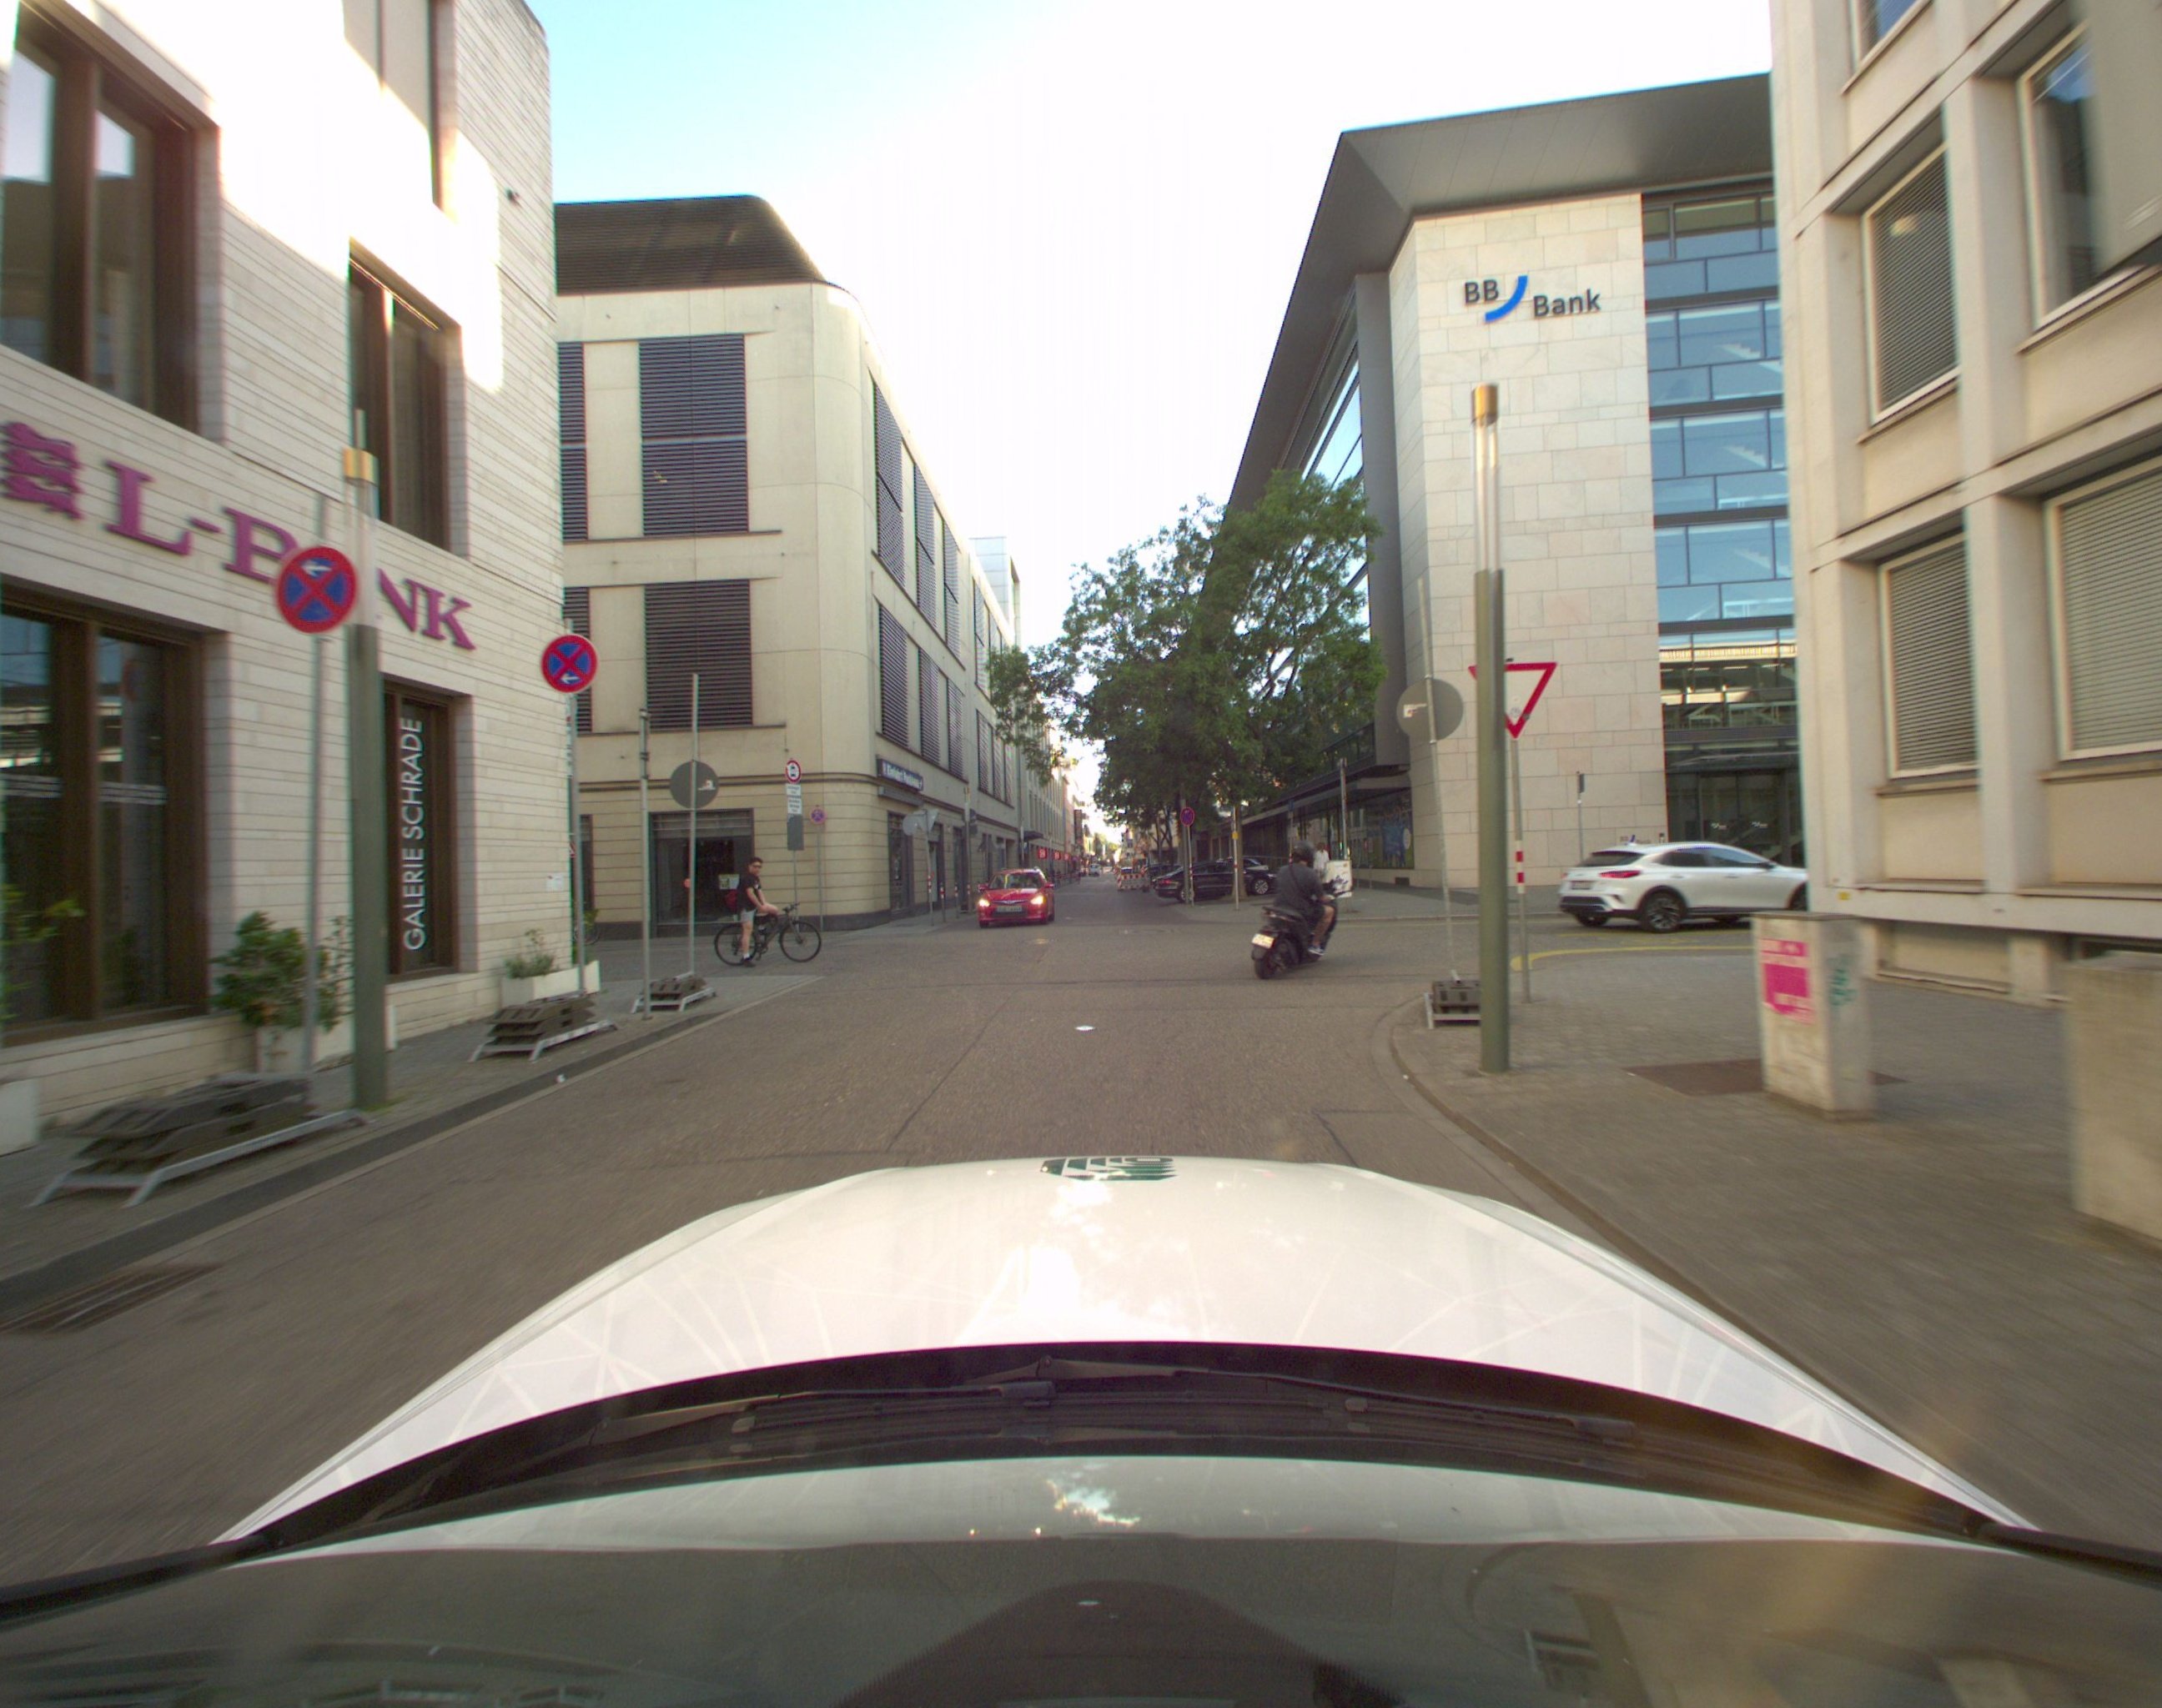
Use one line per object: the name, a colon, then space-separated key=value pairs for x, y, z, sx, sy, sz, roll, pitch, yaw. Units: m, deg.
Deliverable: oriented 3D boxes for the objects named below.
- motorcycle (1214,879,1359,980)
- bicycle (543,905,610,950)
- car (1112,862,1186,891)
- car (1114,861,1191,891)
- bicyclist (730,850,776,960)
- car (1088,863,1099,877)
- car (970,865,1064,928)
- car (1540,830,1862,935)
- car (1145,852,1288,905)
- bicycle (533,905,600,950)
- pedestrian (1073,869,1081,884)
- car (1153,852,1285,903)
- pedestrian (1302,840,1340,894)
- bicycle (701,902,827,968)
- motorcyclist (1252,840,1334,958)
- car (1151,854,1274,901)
motorcycle: x=2.609 y=0.897 z=10.254 sx=1.849 sy=1.109 sz=0.865 roll=0 pitch=-2 yaw=-42
bicycle: x=-13.053 y=1.890 z=21.122 sx=0.348 sy=1.033 sz=1.527 roll=-3 pitch=-1 yaw=23
car: x=4.742 y=1.576 z=57.721 sx=4.989 sy=1.499 sz=2.000 roll=-6 pitch=-2 yaw=0
car: x=4.795 y=1.489 z=55.249 sx=4.989 sy=1.499 sz=2.000 roll=-6 pitch=-2 yaw=0
bicyclist: x=-5.321 y=0.821 z=13.223 sx=0.549 sy=1.732 sz=0.500 roll=-1 pitch=-2 yaw=-6
car: x=2.178 y=2.812 z=143.594 sx=1.987 sy=2.329 sz=5.020 roll=0 pitch=-1 yaw=0
car: x=-1.615 y=1.135 z=22.076 sx=1.814 sy=1.465 sz=4.268 roll=-2 pitch=-3 yaw=5
car: x=10.559 y=0.460 z=14.075 sx=4.240 sy=1.541 sz=1.826 roll=-2 pitch=0 yaw=-3
car: x=5.064 y=0.930 z=30.886 sx=4.989 sy=1.452 sz=2.000 roll=-6 pitch=-2 yaw=0
bicycle: x=-13.409 y=1.911 z=21.264 sx=0.348 sy=1.033 sz=1.527 roll=-3 pitch=-1 yaw=23
pedestrian: x=-0.420 y=2.367 z=86.039 sx=0.729 sy=1.574 sz=0.636 roll=-1 pitch=-2 yaw=3
car: x=5.561 y=0.962 z=33.372 sx=4.989 sy=1.499 sz=2.000 roll=-6 pitch=-2 yaw=0
pedestrian: x=7.980 y=0.431 z=27.076 sx=0.901 sy=1.706 sz=0.835 roll=-5 pitch=-2 yaw=4
bicycle: x=-5.121 y=1.295 z=13.228 sx=1.812 sy=0.974 sz=0.510 roll=-1 pitch=-2 yaw=-7
motorcyclist: x=2.679 y=0.562 z=10.345 sx=0.458 sy=1.427 sz=0.859 roll=0 pitch=-2 yaw=-42
car: x=5.695 y=1.025 z=35.678 sx=4.989 sy=1.499 sz=2.000 roll=-6 pitch=-2 yaw=0
